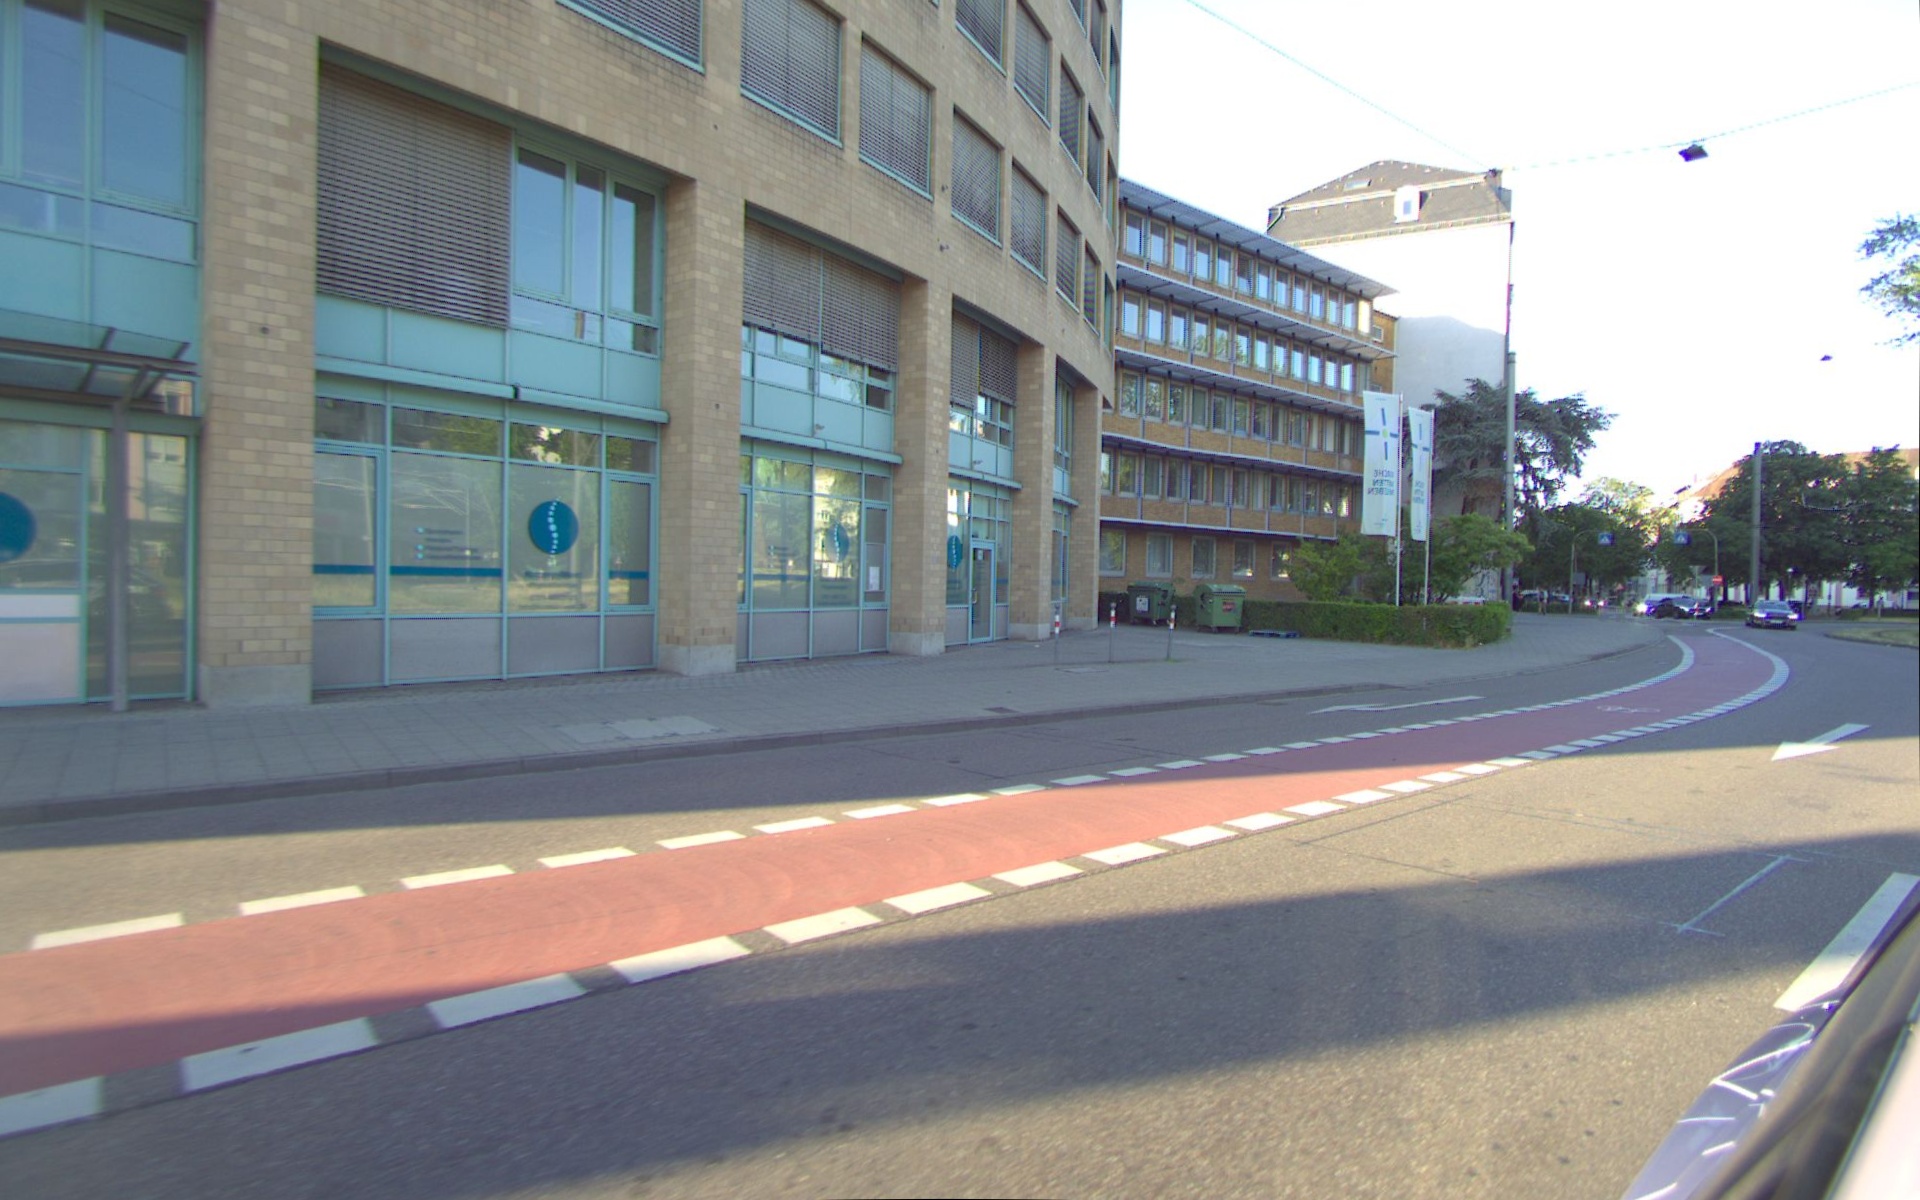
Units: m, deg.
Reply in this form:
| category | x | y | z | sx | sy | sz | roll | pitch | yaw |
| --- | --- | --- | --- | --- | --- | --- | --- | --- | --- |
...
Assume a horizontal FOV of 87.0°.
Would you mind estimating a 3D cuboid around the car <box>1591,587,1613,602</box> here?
| category | x | y | z | sx | sy | sz | roll | pitch | yaw |
| --- | --- | --- | --- | --- | --- | --- | --- | --- | --- |
| car | 71.579 | -0.631 | 112.834 | 1.810 | 1.501 | 4.082 | 2 | 0 | 35 |

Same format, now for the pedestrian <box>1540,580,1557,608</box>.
| category | x | y | z | sx | sy | sz | roll | pitch | yaw |
| --- | --- | --- | --- | --- | --- | --- | --- | --- | --- |
| pedestrian | 38.985 | -0.400 | 67.001 | 0.805 | 1.814 | 0.593 | 2 | 0 | -29 |

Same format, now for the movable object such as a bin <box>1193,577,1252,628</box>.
| category | x | y | z | sx | sy | sz | roll | pitch | yaw |
| --- | --- | --- | --- | --- | --- | --- | --- | --- | --- |
| movable object such as a bin | 7.743 | 0.069 | 29.873 | 1.317 | 1.456 | 0.976 | 2 | 0 | -21 |

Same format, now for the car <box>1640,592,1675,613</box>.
| category | x | y | z | sx | sy | sz | roll | pitch | yaw |
| --- | --- | --- | --- | --- | --- | --- | --- | --- | --- |
| car | 52.700 | 0.175 | 76.520 | 1.806 | 1.501 | 4.090 | 3 | 1 | 30 |

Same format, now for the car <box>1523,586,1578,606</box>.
| category | x | y | z | sx | sy | sz | roll | pitch | yaw |
| --- | --- | --- | --- | --- | --- | --- | --- | --- | --- |
| car | 51.113 | -0.364 | 87.615 | 4.037 | 1.589 | 1.817 | 3 | 1 | 31 |

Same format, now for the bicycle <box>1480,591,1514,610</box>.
| category | x | y | z | sx | sy | sz | roll | pitch | yaw |
| --- | --- | --- | --- | --- | --- | --- | --- | --- | --- |
| bicycle | 33.917 | 0.032 | 63.896 | 1.839 | 1.086 | 0.425 | 3 | 0 | 28 |

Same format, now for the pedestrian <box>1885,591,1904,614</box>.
| category | x | y | z | sx | sy | sz | roll | pitch | yaw |
| --- | --- | --- | --- | --- | --- | --- | --- | --- | --- |
| pedestrian | 73.239 | 0.195 | 79.319 | 0.769 | 1.737 | 0.771 | 2 | 0 | -10 |

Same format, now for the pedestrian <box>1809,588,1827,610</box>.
| category | x | y | z | sx | sy | sz | roll | pitch | yaw |
| --- | --- | --- | --- | --- | --- | --- | --- | --- | --- |
| pedestrian | 81.447 | -0.132 | 96.060 | 0.988 | 2.039 | 0.831 | 2 | 0 | -10 |

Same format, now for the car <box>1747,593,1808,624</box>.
| category | x | y | z | sx | sy | sz | roll | pitch | yaw |
| --- | --- | --- | --- | --- | --- | --- | --- | --- | --- |
| car | 42.409 | 0.441 | 52.593 | 1.806 | 1.501 | 4.091 | 3 | 1 | 30 |

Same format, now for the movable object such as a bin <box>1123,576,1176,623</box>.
| category | x | y | z | sx | sy | sz | roll | pitch | yaw |
| --- | --- | --- | --- | --- | --- | --- | --- | --- | --- |
| movable object such as a bin | 6.077 | -0.029 | 32.448 | 1.341 | 1.442 | 0.909 | 3 | 0 | 43 |

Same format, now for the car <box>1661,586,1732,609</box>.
| category | x | y | z | sx | sy | sz | roll | pitch | yaw |
| --- | --- | --- | --- | --- | --- | --- | --- | --- | --- |
| car | 70.084 | -0.249 | 96.413 | 2.082 | 1.926 | 5.080 | 2 | 1 | -38 |

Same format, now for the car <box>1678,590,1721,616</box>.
| category | x | y | z | sx | sy | sz | roll | pitch | yaw |
| --- | --- | --- | --- | --- | --- | --- | --- | --- | --- |
| car | 46.230 | 0.178 | 63.332 | 1.808 | 1.501 | 4.087 | 3 | 1 | 32 |

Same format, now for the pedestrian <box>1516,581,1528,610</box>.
| category | x | y | z | sx | sy | sz | roll | pitch | yaw |
| --- | --- | --- | --- | --- | --- | --- | --- | --- | --- |
| pedestrian | 35.154 | -0.281 | 63.261 | 0.573 | 1.730 | 0.713 | 2 | 0 | 32 |

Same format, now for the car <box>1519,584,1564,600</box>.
| category | x | y | z | sx | sy | sz | roll | pitch | yaw |
| --- | --- | --- | --- | --- | --- | --- | --- | --- | --- |
| car | 66.633 | -0.890 | 116.107 | 4.359 | 1.633 | 1.712 | 3 | 1 | 28 |

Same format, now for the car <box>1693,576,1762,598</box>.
| category | x | y | z | sx | sy | sz | roll | pitch | yaw |
| --- | --- | --- | --- | --- | --- | --- | --- | --- | --- |
| car | 59.649 | -1.023 | 78.716 | 4.056 | 1.576 | 1.836 | 3 | 1 | 44 |

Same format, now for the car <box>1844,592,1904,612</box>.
| category | x | y | z | sx | sy | sz | roll | pitch | yaw |
| --- | --- | --- | --- | --- | --- | --- | --- | --- | --- |
| car | 86.705 | 0.161 | 96.040 | 1.671 | 1.746 | 4.008 | 2 | 1 | -41 |

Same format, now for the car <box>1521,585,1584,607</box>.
| category | x | y | z | sx | sy | sz | roll | pitch | yaw |
| --- | --- | --- | --- | --- | --- | --- | --- | --- | --- |
| car | 48.899 | -0.333 | 83.580 | 4.363 | 1.577 | 1.818 | 3 | 1 | 30 |

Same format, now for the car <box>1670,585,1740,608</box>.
| category | x | y | z | sx | sy | sz | roll | pitch | yaw |
| --- | --- | --- | --- | --- | --- | --- | --- | --- | --- |
| car | 72.314 | -0.342 | 98.331 | 1.931 | 2.047 | 5.080 | 2 | 1 | -38 |
